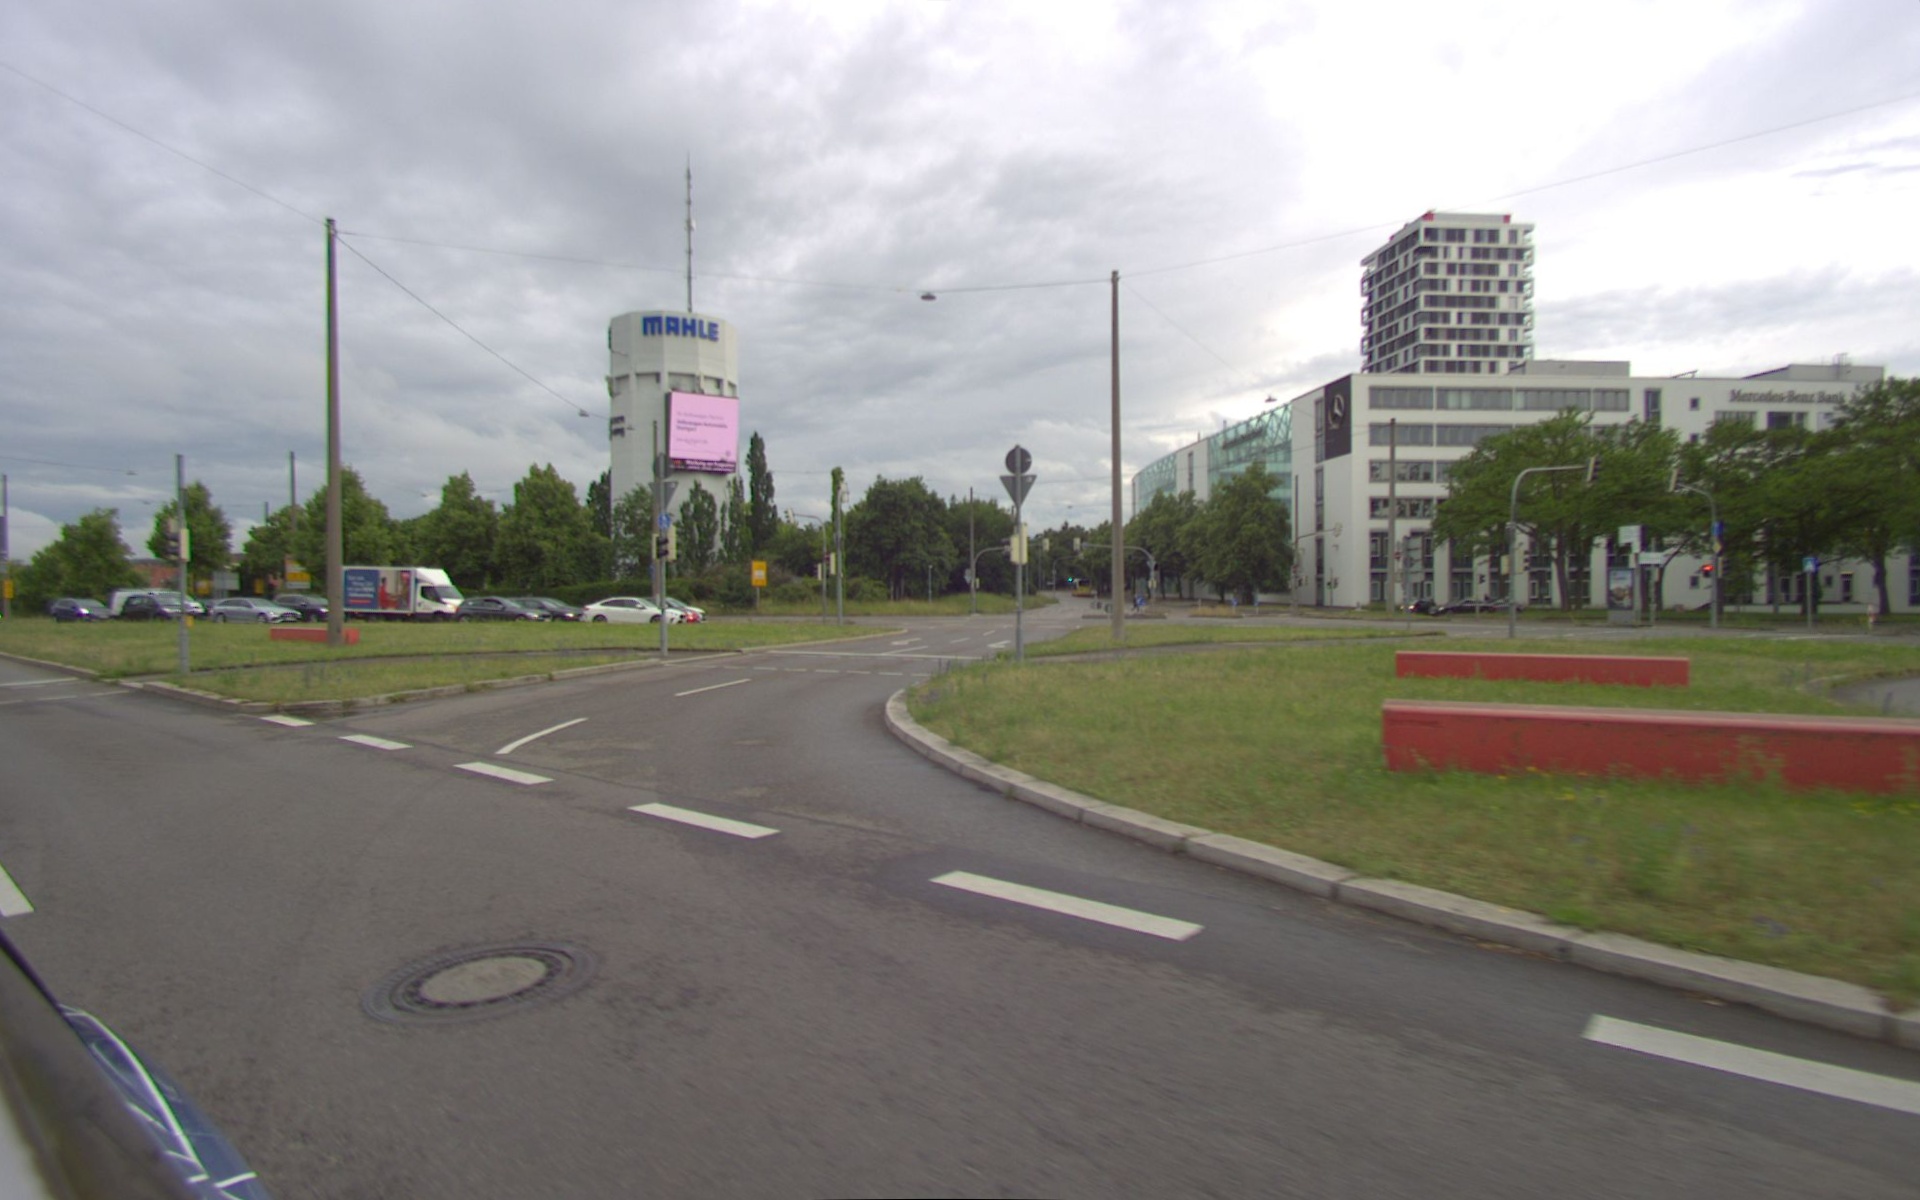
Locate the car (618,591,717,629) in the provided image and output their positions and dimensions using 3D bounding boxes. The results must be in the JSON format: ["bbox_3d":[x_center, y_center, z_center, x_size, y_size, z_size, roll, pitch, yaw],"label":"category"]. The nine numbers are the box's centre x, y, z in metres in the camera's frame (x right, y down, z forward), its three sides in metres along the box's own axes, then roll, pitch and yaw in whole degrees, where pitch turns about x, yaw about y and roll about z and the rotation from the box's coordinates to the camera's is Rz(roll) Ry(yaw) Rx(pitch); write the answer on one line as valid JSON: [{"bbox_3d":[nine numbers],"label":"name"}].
[{"bbox_3d":[-14.992,0.480,52.048,4.459,1.695,1.999,-2,2,2],"label":"car"}]

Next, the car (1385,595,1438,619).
[{"bbox_3d":[35.029,0.529,78.550,3.650,1.688,1.906,-3,2,-28],"label":"car"}]

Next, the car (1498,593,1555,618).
[{"bbox_3d":[43.637,0.419,77.999,3.649,1.688,1.906,-3,2,-21],"label":"car"}]

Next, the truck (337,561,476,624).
[{"bbox_3d":[-27.562,-0.377,50.485,5.963,2.855,2.125,-2,2,9],"label":"truck"}]

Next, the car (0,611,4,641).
[{"bbox_3d":[-60.823,1.659,61.693,5.142,1.814,1.983,-1,2,26],"label":"car"}]

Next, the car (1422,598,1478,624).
[{"bbox_3d":[36.455,0.796,75.278,3.650,1.688,1.906,-3,2,-28],"label":"car"}]

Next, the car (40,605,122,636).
[{"bbox_3d":[-54.652,1.272,62.927,4.489,1.695,1.986,-1,2,22],"label":"car"}]

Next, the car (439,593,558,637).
[{"bbox_3d":[-20.600,0.659,45.281,4.472,1.695,1.994,-2,2,11],"label":"car"}]

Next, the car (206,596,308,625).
[{"bbox_3d":[-36.646,0.560,52.762,4.492,1.320,1.989,-1,2,18],"label":"car"}]

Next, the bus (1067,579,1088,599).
[{"bbox_3d":[21.193,-2.070,182.741,2.821,3.351,8.886,-2,2,1],"label":"bus"}]

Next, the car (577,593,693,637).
[{"bbox_3d":[-14.467,0.656,45.207,4.463,1.695,1.998,-2,2,4],"label":"car"}]

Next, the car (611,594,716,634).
[{"bbox_3d":[-14.314,0.650,49.016,4.458,1.695,2.000,-2,2,1],"label":"car"}]

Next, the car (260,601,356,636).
[{"bbox_3d":[-35.765,1.029,55.546,4.482,1.695,1.989,-1,2,18],"label":"car"}]

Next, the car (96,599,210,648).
[{"bbox_3d":[-39.888,1.155,50.001,5.132,2.197,1.987,-1,2,21],"label":"car"}]

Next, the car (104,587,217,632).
[{"bbox_3d":[-43.551,0.520,55.131,5.269,2.197,2.359,-1,2,20],"label":"car"}]

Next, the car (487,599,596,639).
[{"bbox_3d":[-20.319,0.891,49.249,4.468,1.695,1.996,-2,2,8],"label":"car"}]
